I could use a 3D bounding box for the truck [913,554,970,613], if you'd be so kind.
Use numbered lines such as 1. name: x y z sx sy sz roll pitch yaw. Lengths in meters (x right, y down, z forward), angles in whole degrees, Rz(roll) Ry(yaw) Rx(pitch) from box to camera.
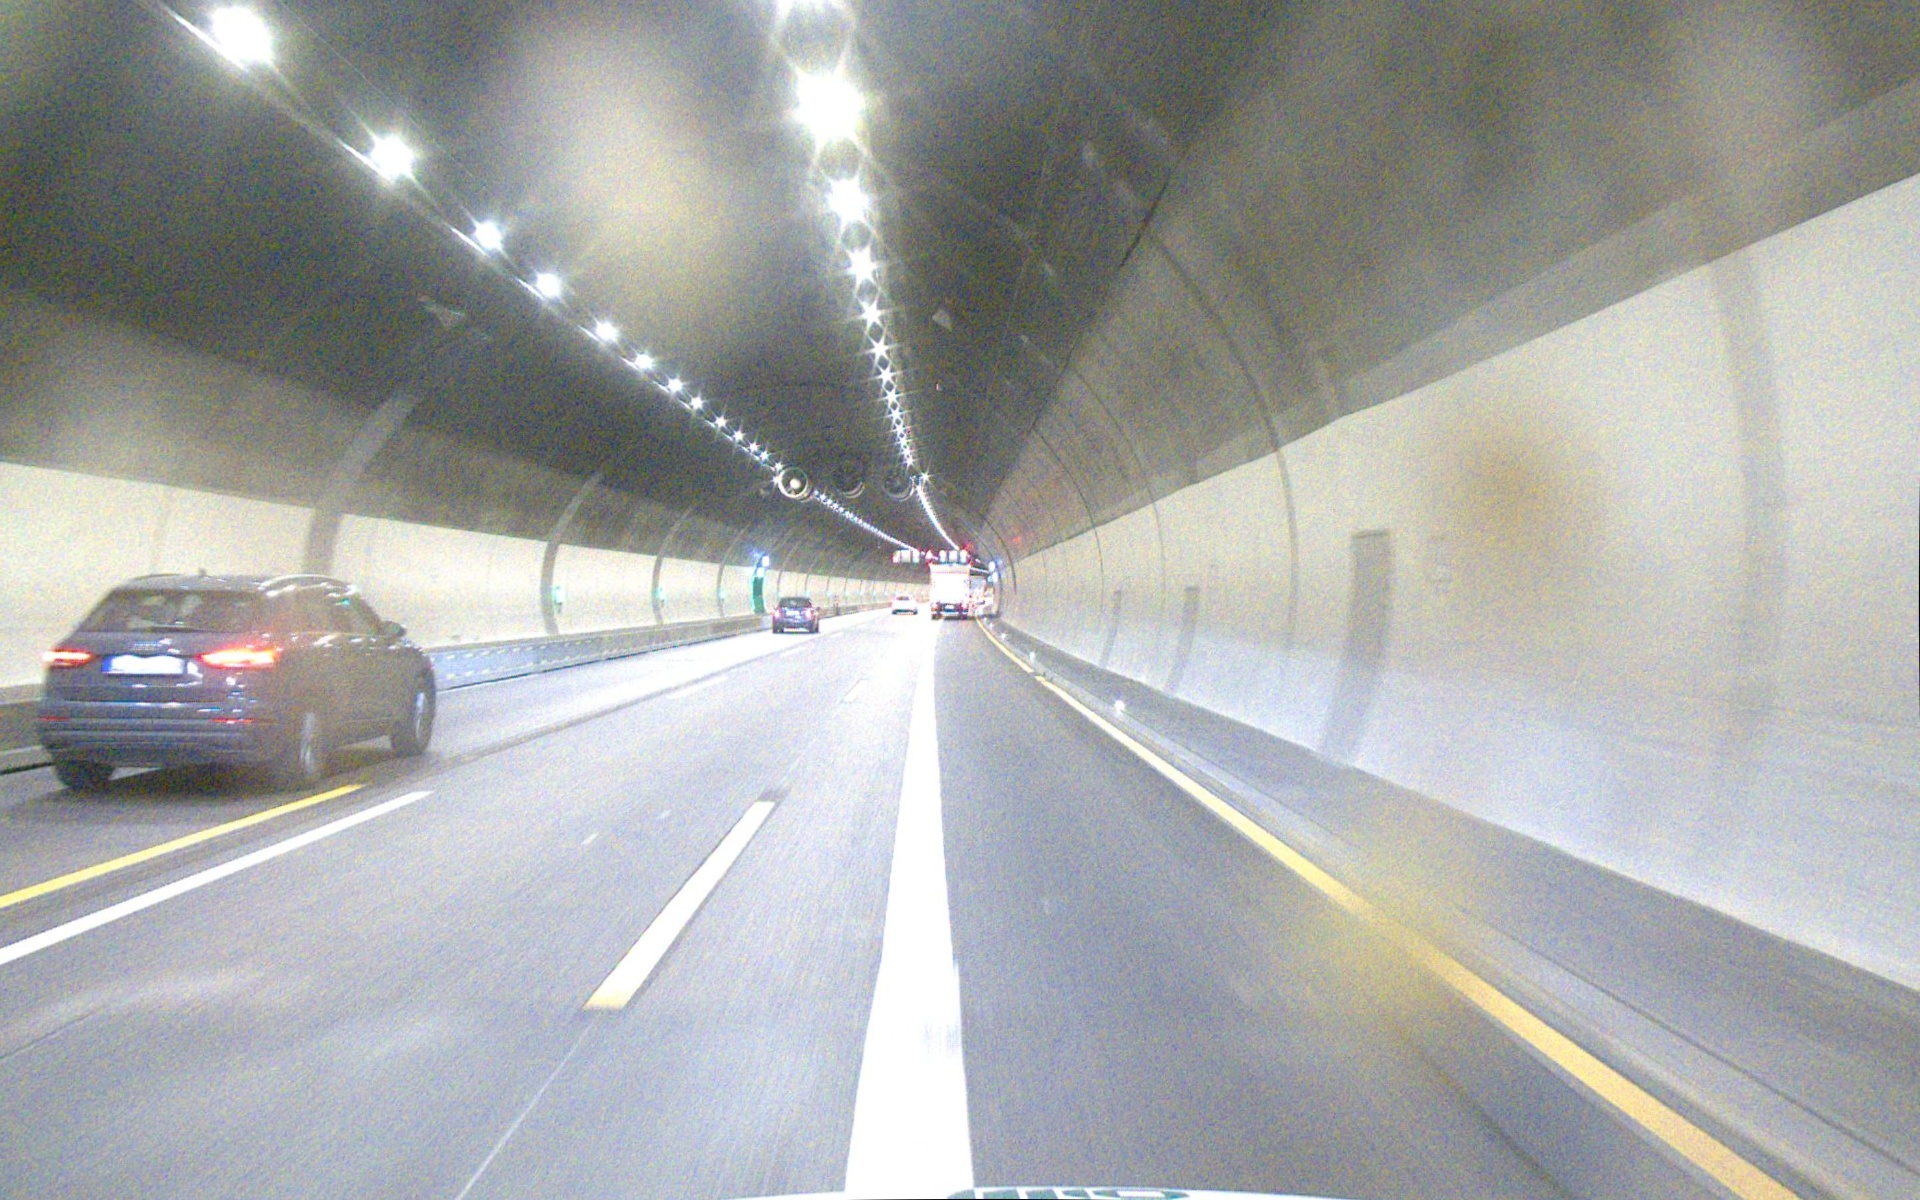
1. truck: -1.231 -1.088 108.694 3.519 3.714 10.720 0 1 -1

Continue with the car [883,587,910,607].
1. car: -4.736 -0.218 124.230 1.953 1.437 4.741 0 1 -2

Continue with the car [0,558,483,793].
1. car: -5.534 0.507 13.516 1.953 1.567 4.741 1 0 -1

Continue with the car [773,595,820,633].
1. car: -6.532 0.532 66.387 1.655 1.442 3.921 1 0 -3
